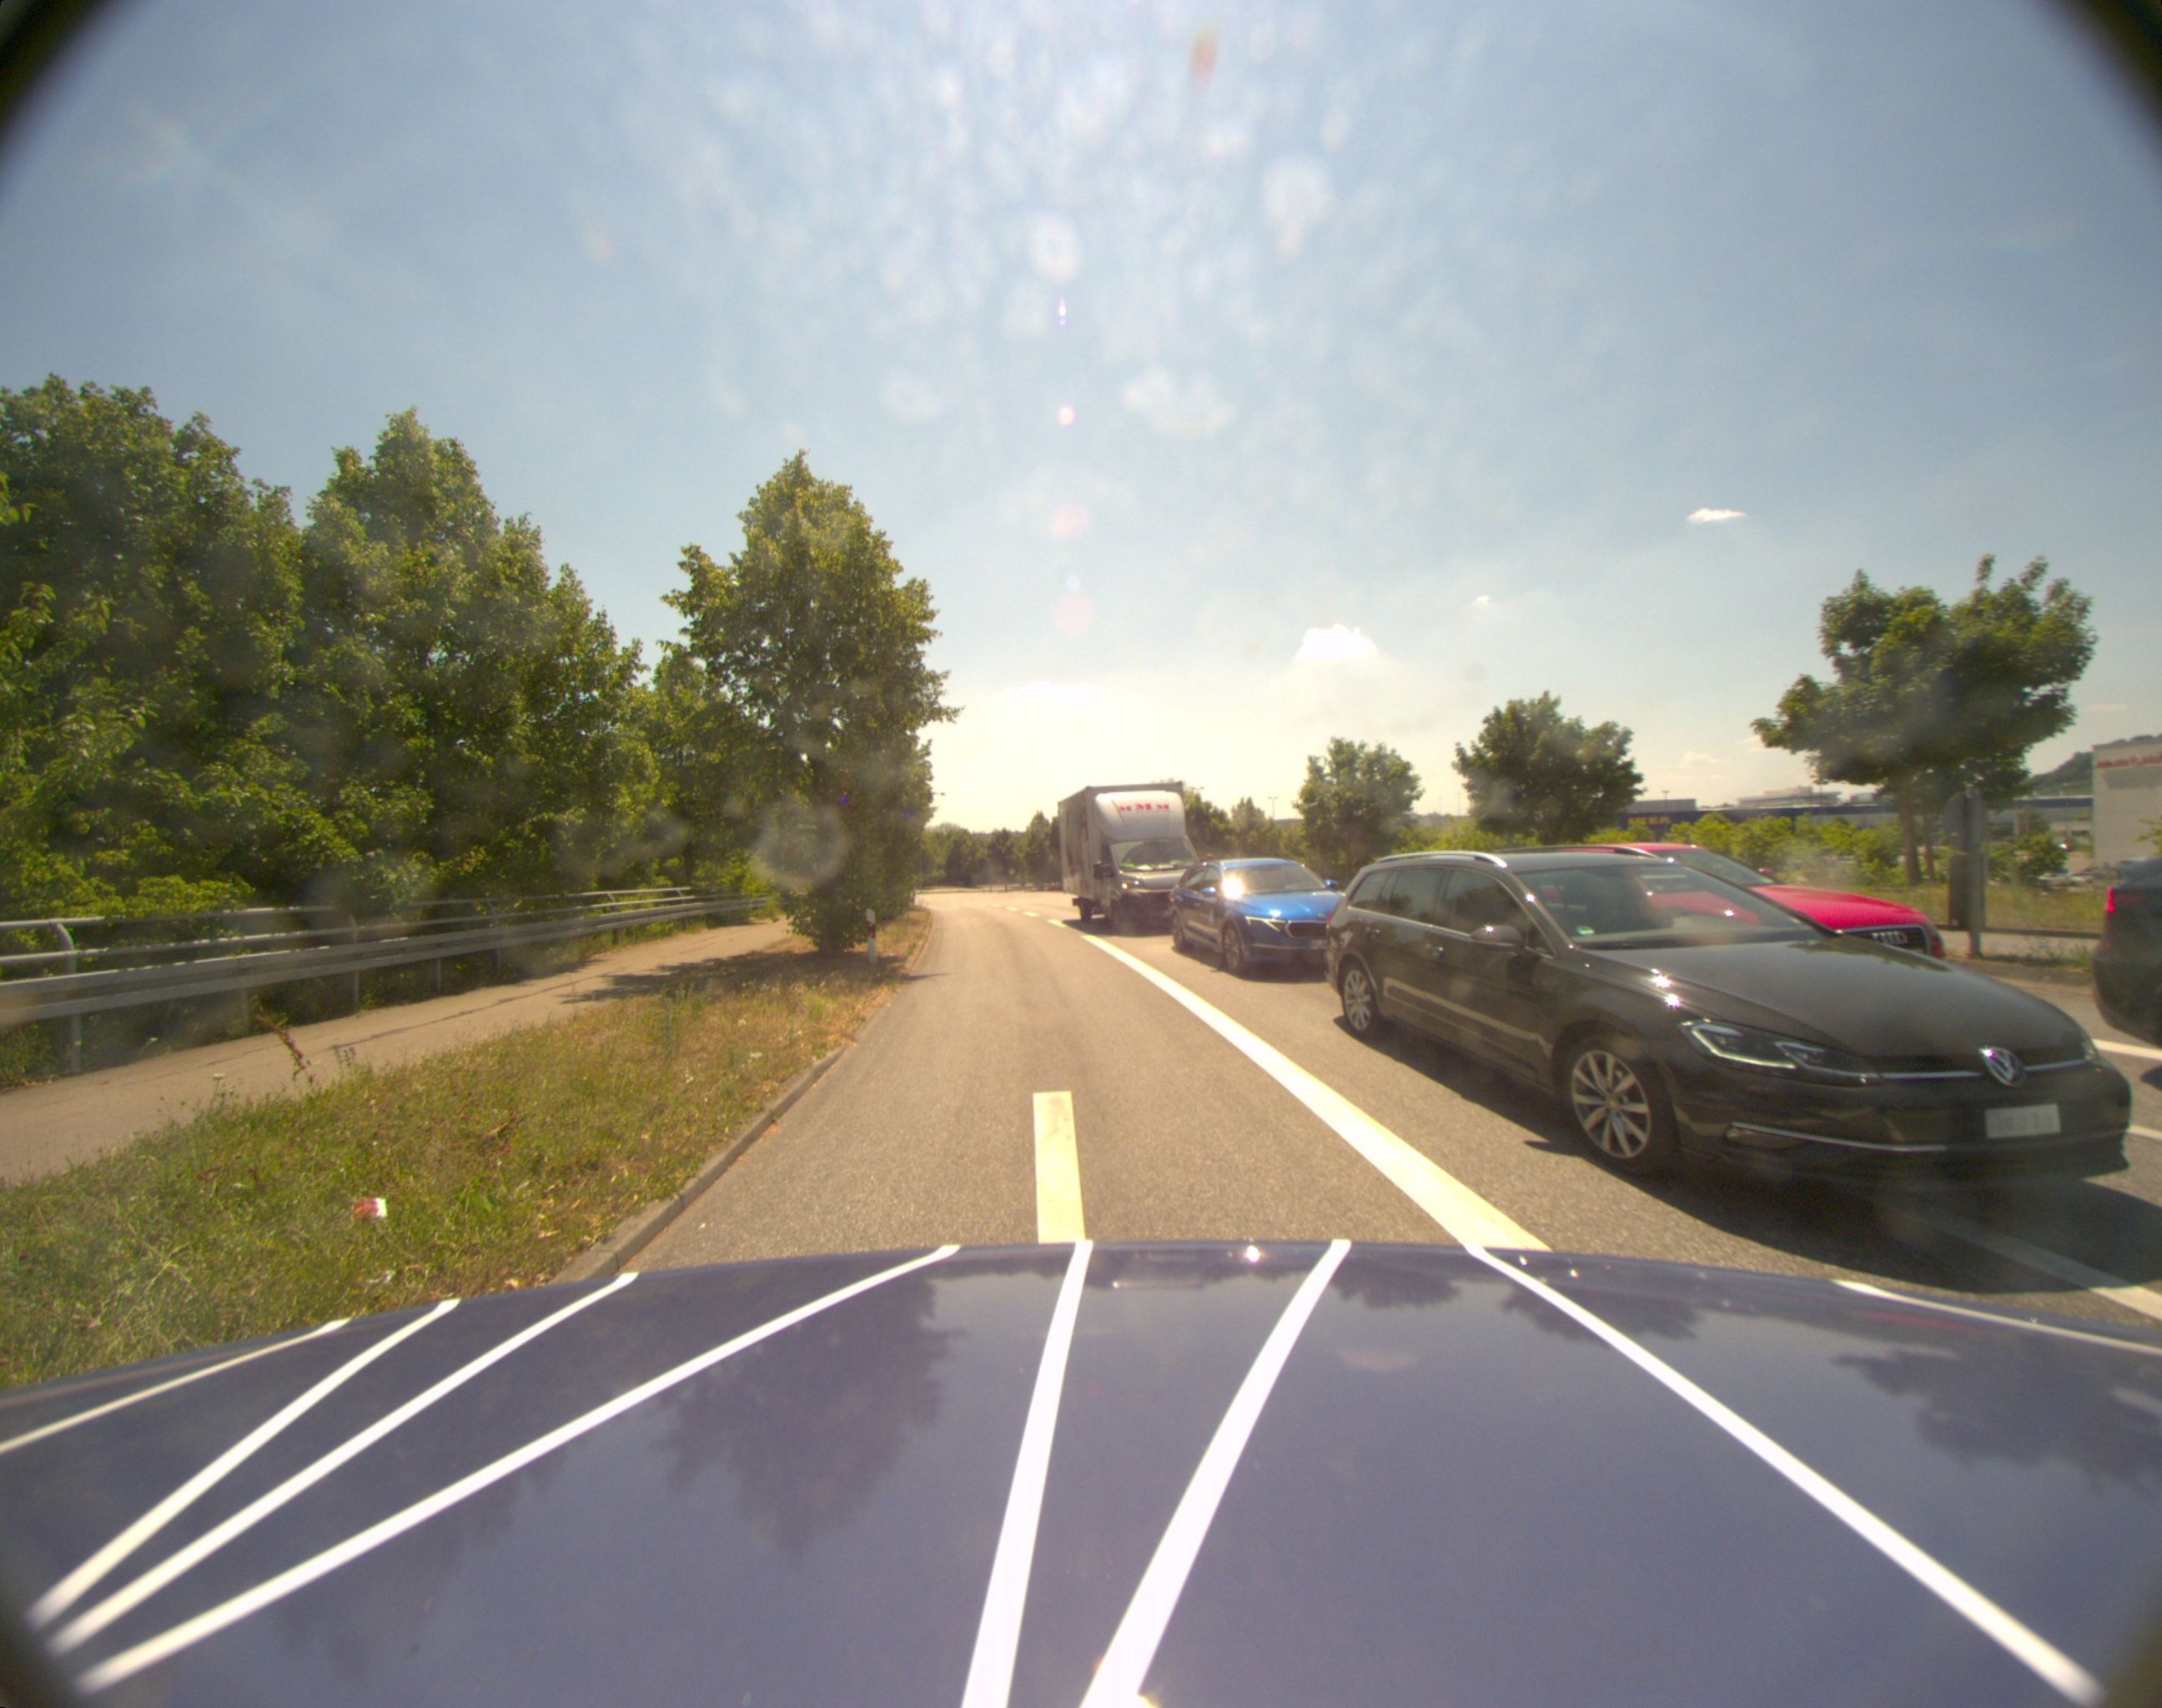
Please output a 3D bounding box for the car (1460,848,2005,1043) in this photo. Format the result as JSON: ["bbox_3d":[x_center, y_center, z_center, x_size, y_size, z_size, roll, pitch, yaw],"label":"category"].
[{"bbox_3d":[6.125,0.680,8.032,1.665,1.380,4.447,-3,1,-5],"label":"car"}]

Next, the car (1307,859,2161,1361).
[{"bbox_3d":[3.096,0.824,4.658,1.783,1.474,4.427,-2,0,-4],"label":"car"}]

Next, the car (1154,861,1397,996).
[{"bbox_3d":[2.481,0.890,10.988,1.713,1.454,4.486,-3,-1,-9],"label":"car"}]

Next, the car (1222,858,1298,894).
[{"bbox_3d":[10.509,1.290,44.840,2.003,1.949,3.990,-2,1,-36],"label":"car"}]

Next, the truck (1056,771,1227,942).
[{"bbox_3d":[1.115,0.112,18.791,2.416,3.327,7.198,-2,-1,-9],"label":"truck"}]

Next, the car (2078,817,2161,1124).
[{"bbox_3d":[6.692,0.589,2.077,1.880,1.591,4.503,-2,1,-5],"label":"car"}]
